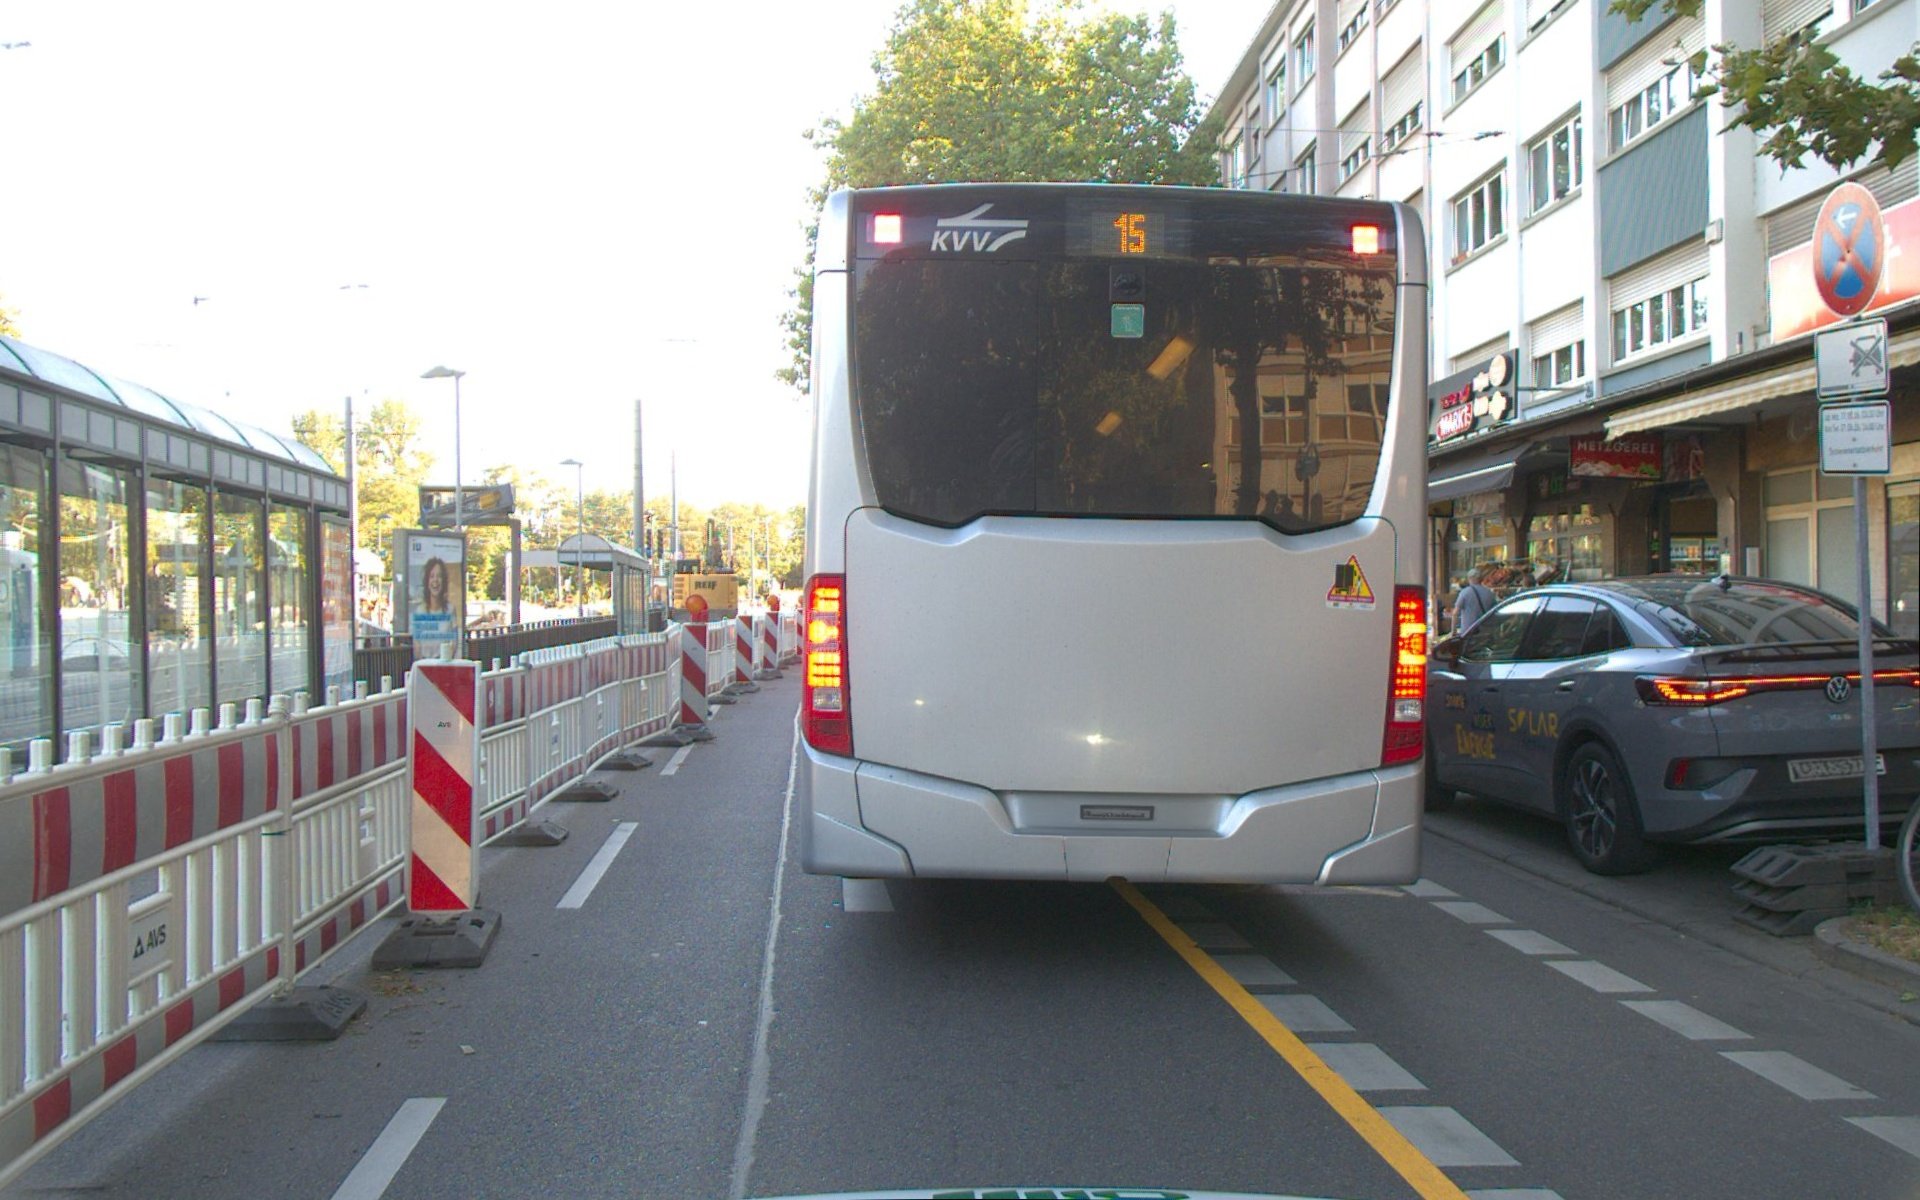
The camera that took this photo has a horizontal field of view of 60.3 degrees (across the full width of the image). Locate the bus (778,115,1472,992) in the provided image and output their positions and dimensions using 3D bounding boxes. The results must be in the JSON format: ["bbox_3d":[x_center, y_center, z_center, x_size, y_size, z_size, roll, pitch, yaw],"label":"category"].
[{"bbox_3d":[0.572,-0.185,11.245,2.555,3.225,10.290,0,0,-1],"label":"bus"}]

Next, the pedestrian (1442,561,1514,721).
[{"bbox_3d":[6.790,0.528,21.709,0.677,2.049,0.696,-1,0,-3],"label":"pedestrian"}]

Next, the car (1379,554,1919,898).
[{"bbox_3d":[4.225,0.608,10.344,1.706,1.625,4.294,-3,0,-5],"label":"car"}]

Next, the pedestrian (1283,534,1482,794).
[{"bbox_3d":[3.287,0.473,12.929,1.105,1.923,1.017,-1,-1,-25],"label":"pedestrian"}]

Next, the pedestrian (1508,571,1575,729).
[{"bbox_3d":[7.657,0.647,21.812,0.600,2.049,0.696,-1,0,-2],"label":"pedestrian"}]

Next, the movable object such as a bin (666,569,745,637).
[{"bbox_3d":[-9.709,0.103,63.507,2.752,2.505,3.995,0,0,-6],"label":"movable object such as a bin"}]
